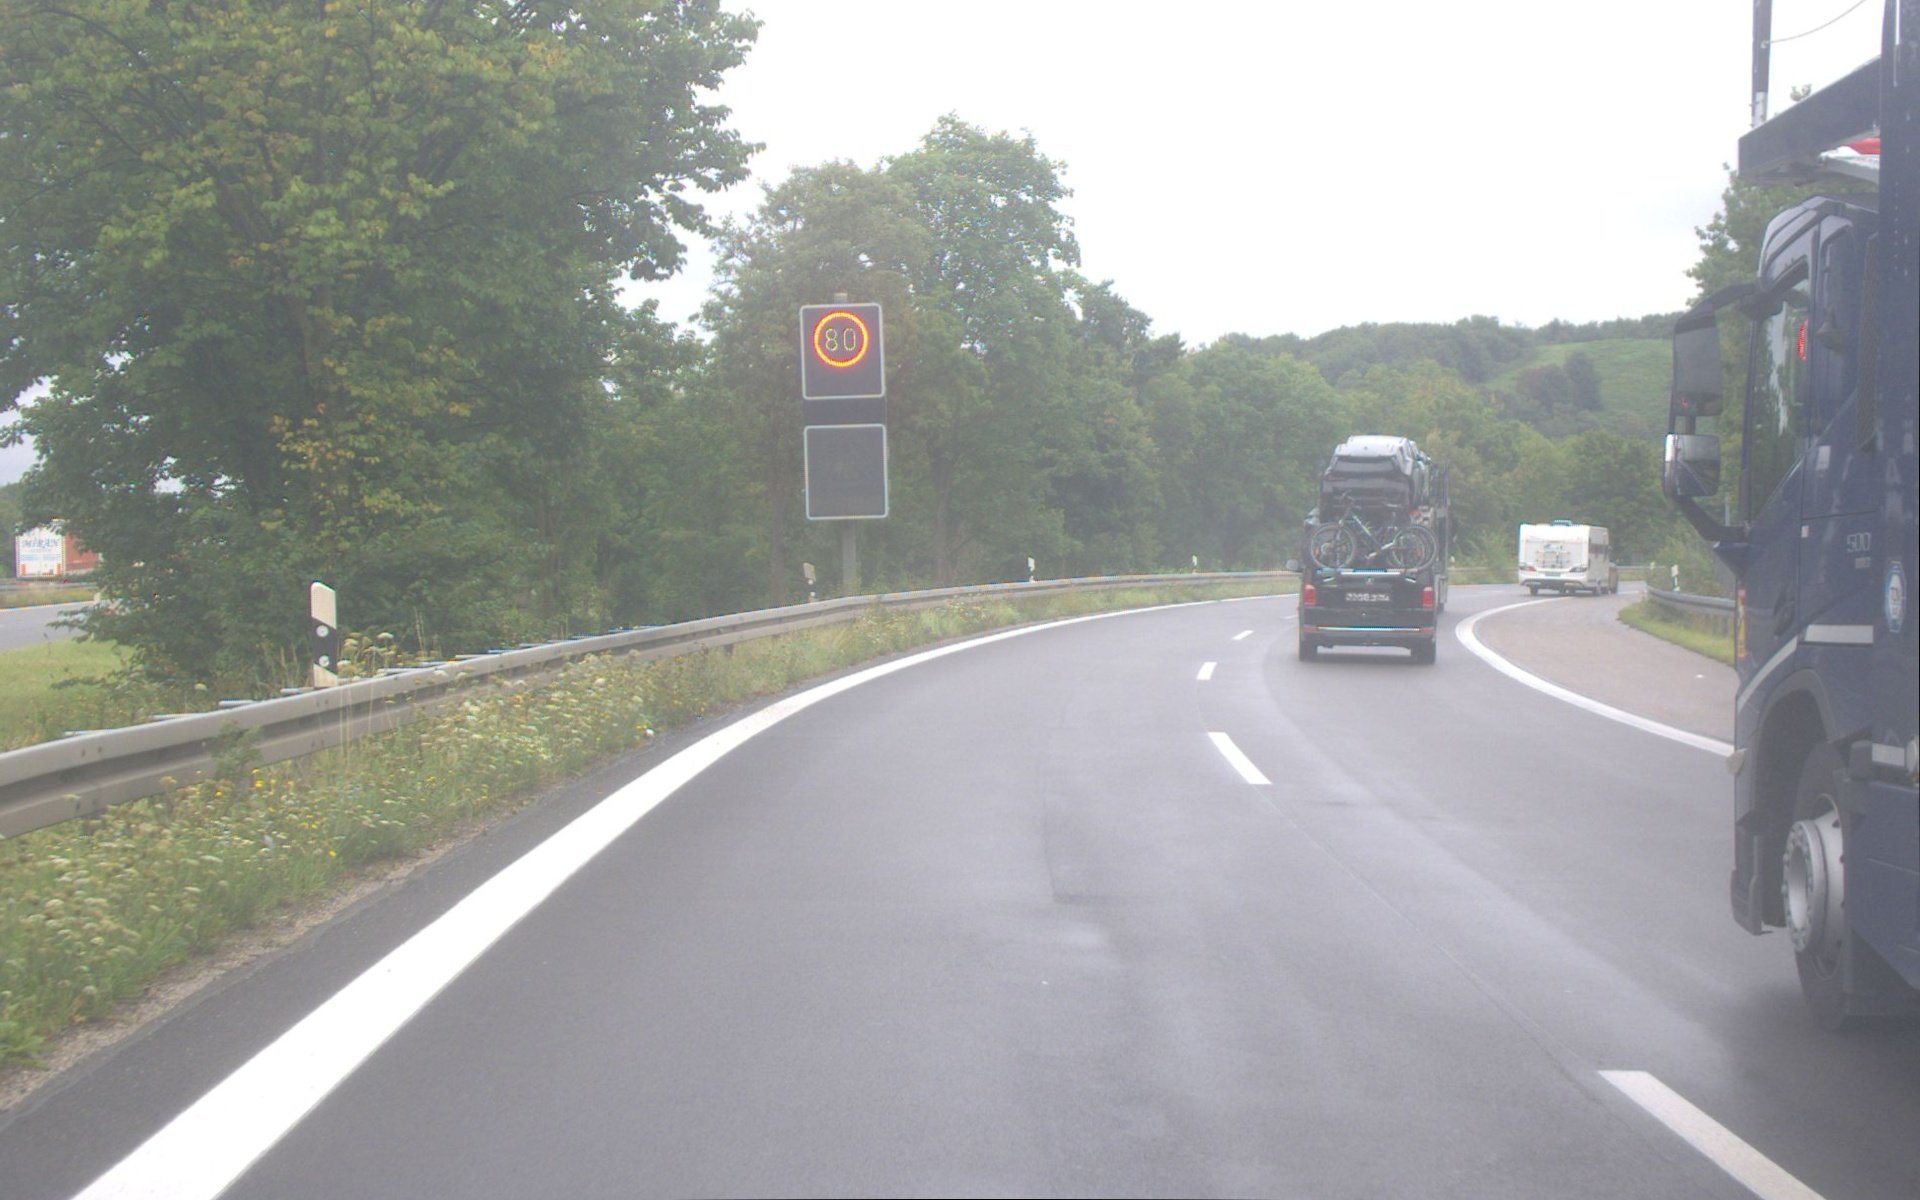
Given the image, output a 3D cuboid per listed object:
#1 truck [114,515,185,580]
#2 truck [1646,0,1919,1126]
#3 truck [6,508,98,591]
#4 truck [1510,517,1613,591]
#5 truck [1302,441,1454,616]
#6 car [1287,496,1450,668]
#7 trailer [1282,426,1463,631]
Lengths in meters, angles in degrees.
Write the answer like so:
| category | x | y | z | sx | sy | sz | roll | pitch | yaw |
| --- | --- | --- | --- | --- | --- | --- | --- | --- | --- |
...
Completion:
| category | x | y | z | sx | sy | sz | roll | pitch | yaw |
| --- | --- | --- | --- | --- | --- | --- | --- | --- | --- |
| truck | -55.854 | -3.632 | 237.199 | 3.732 | 4.402 | 11.900 | 0 | 1 | -8 |
| truck | 3.938 | -0.553 | 8.277 | 2.738 | 3.954 | 9.129 | 0 | 1 | 0 |
| truck | -49.606 | -2.789 | 188.065 | 3.732 | 4.402 | 10.198 | 0 | 1 | -8 |
| truck | 22.000 | -1.693 | 125.510 | 2.651 | 2.596 | 6.413 | 0 | 1 | 20 |
| truck | 10.526 | -1.796 | 86.174 | 3.395 | 3.986 | 10.844 | 2 | 1 | 7 |
| car | 5.765 | -0.285 | 48.506 | 2.110 | 2.257 | 5.895 | -1 | 1 | 7 |
| trailer | 9.035 | -1.551 | 74.798 | 3.450 | 3.986 | 12.023 | 2 | 1 | 7 |
